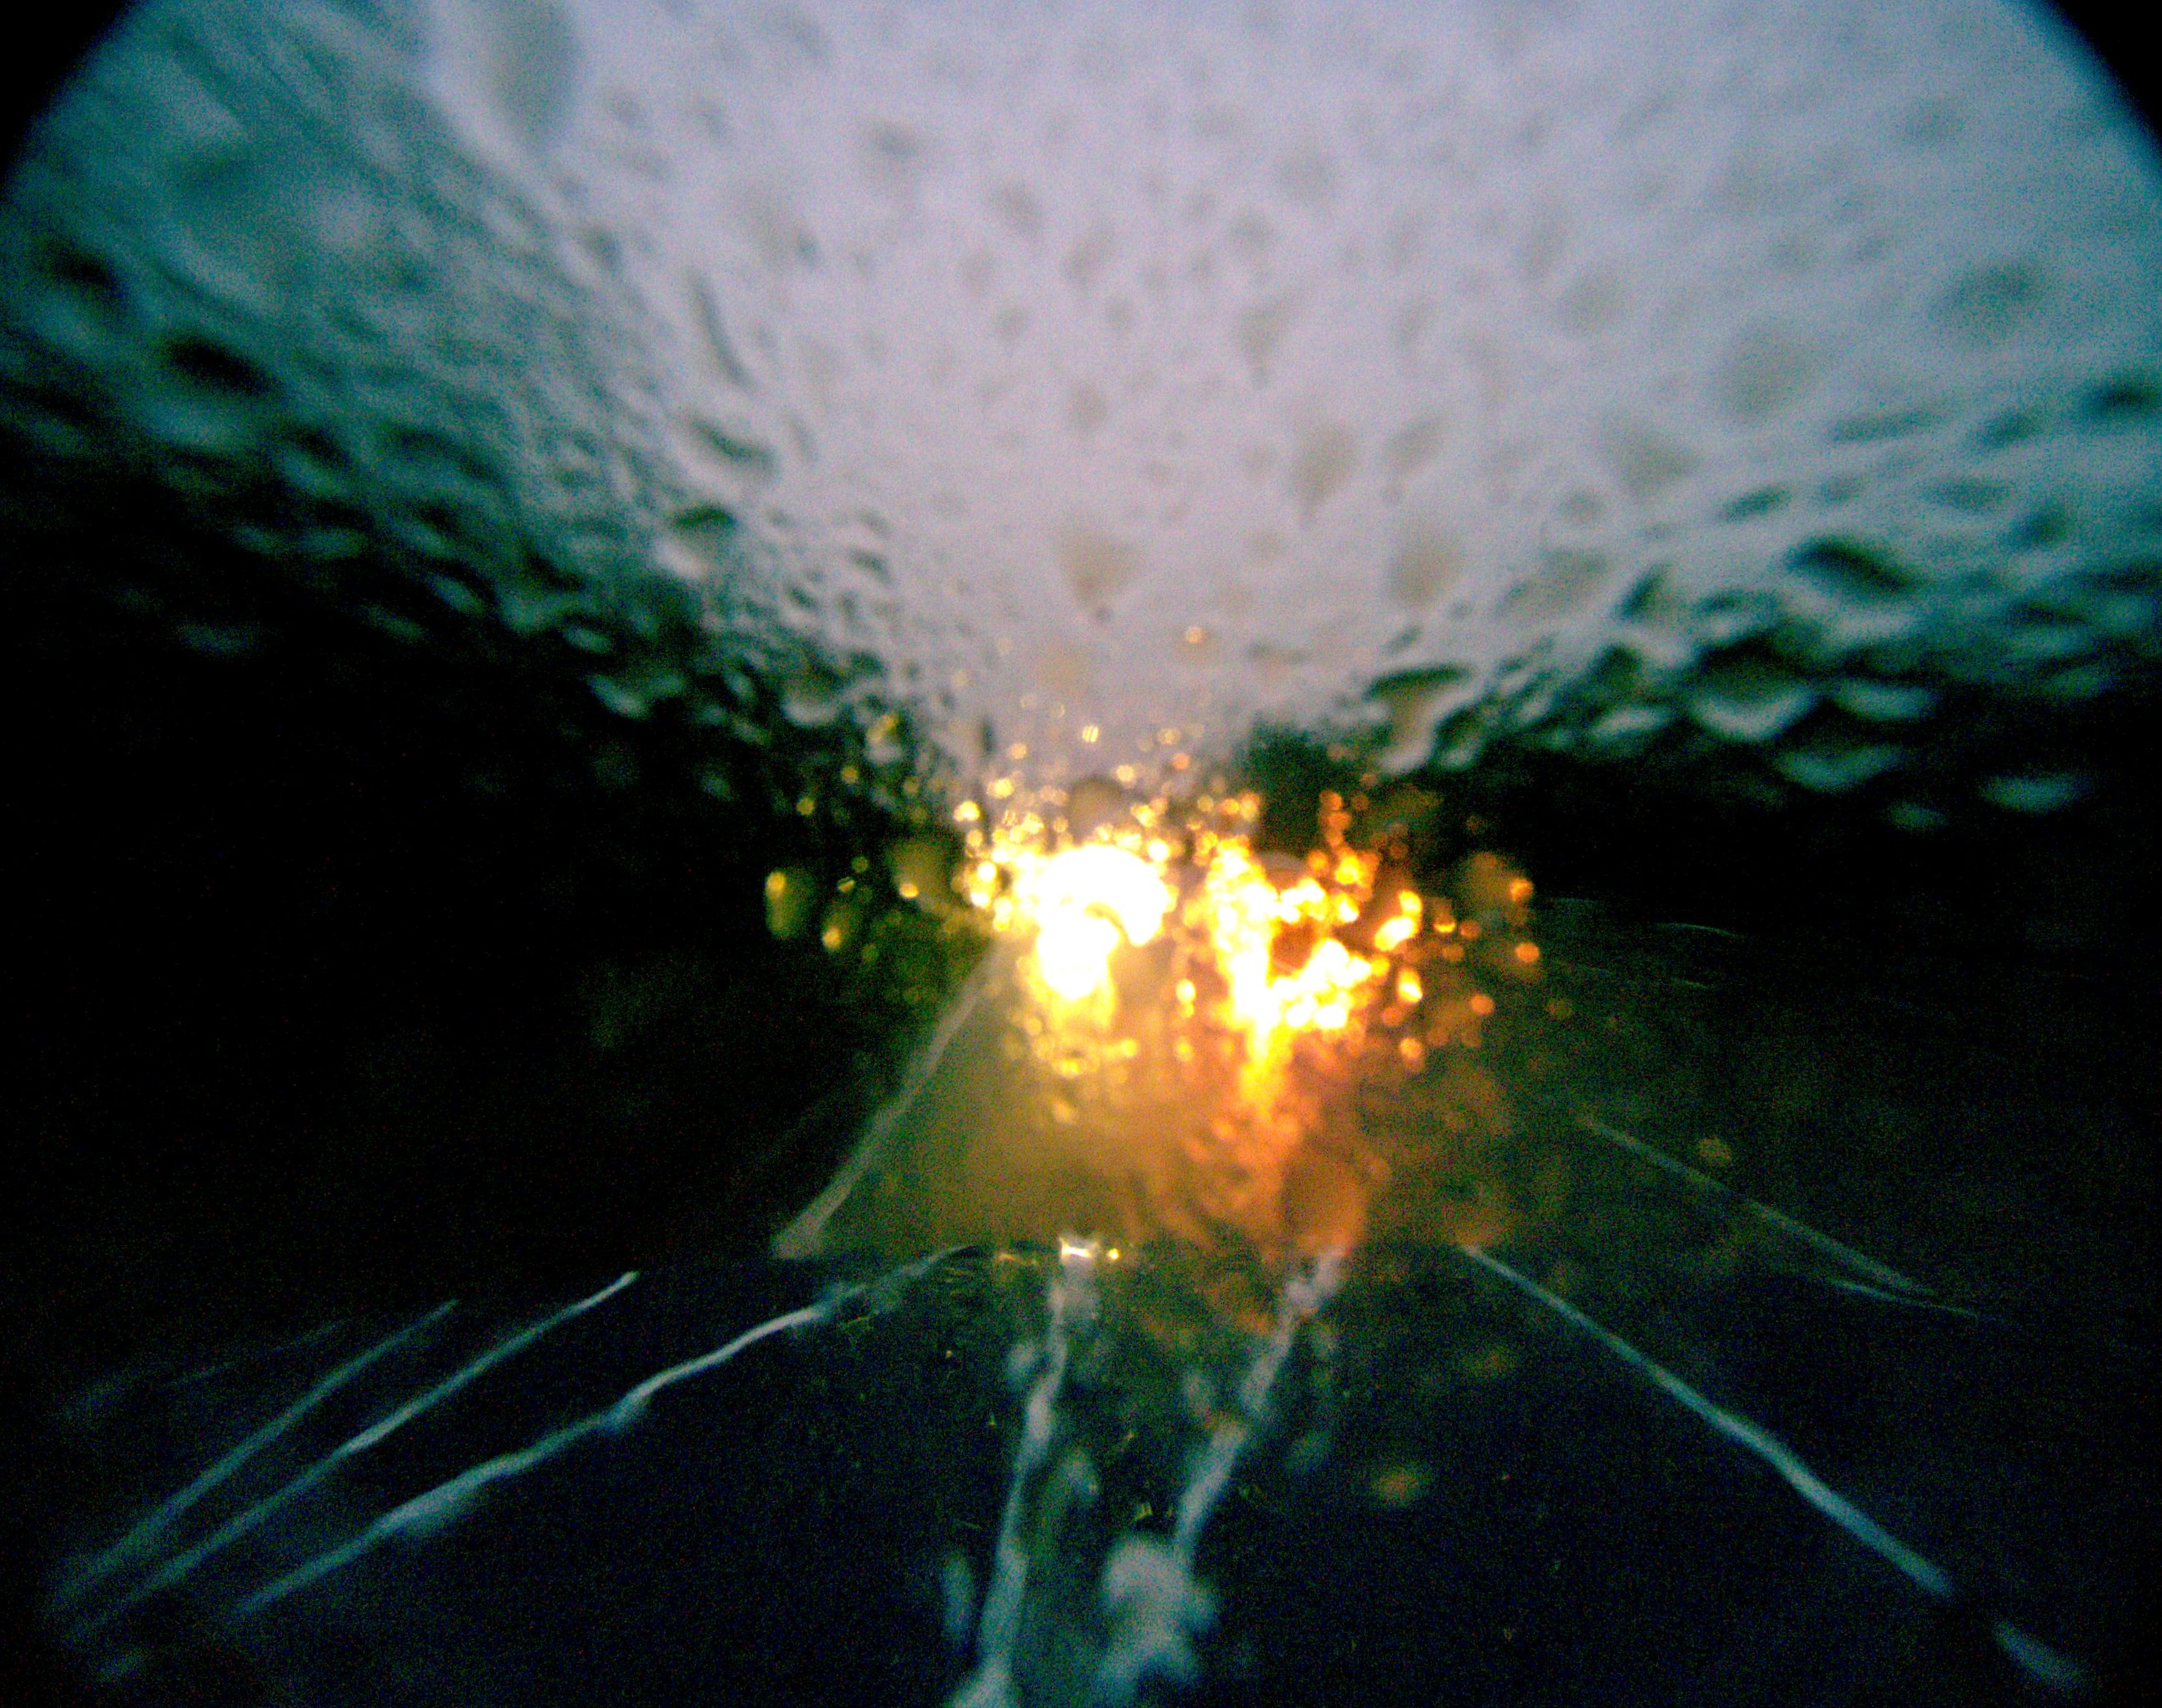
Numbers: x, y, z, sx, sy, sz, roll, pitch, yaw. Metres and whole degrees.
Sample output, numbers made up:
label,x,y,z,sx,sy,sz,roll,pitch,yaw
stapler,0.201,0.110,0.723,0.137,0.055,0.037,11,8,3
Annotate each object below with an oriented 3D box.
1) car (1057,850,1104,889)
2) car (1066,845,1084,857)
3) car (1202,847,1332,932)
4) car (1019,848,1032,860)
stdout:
label,x,y,z,sx,sy,sz,roll,pitch,yaw
car,-0.056,0.630,33.017,1.850,1.429,4.243,-3,1,-2
car,-0.878,-0.452,106.521,2.000,1.639,4.718,-3,1,-7
car,3.725,0.630,15.951,1.636,1.413,4.170,-4,1,0
car,-9.061,-0.034,123.941,1.702,1.721,3.997,-4,2,-7
